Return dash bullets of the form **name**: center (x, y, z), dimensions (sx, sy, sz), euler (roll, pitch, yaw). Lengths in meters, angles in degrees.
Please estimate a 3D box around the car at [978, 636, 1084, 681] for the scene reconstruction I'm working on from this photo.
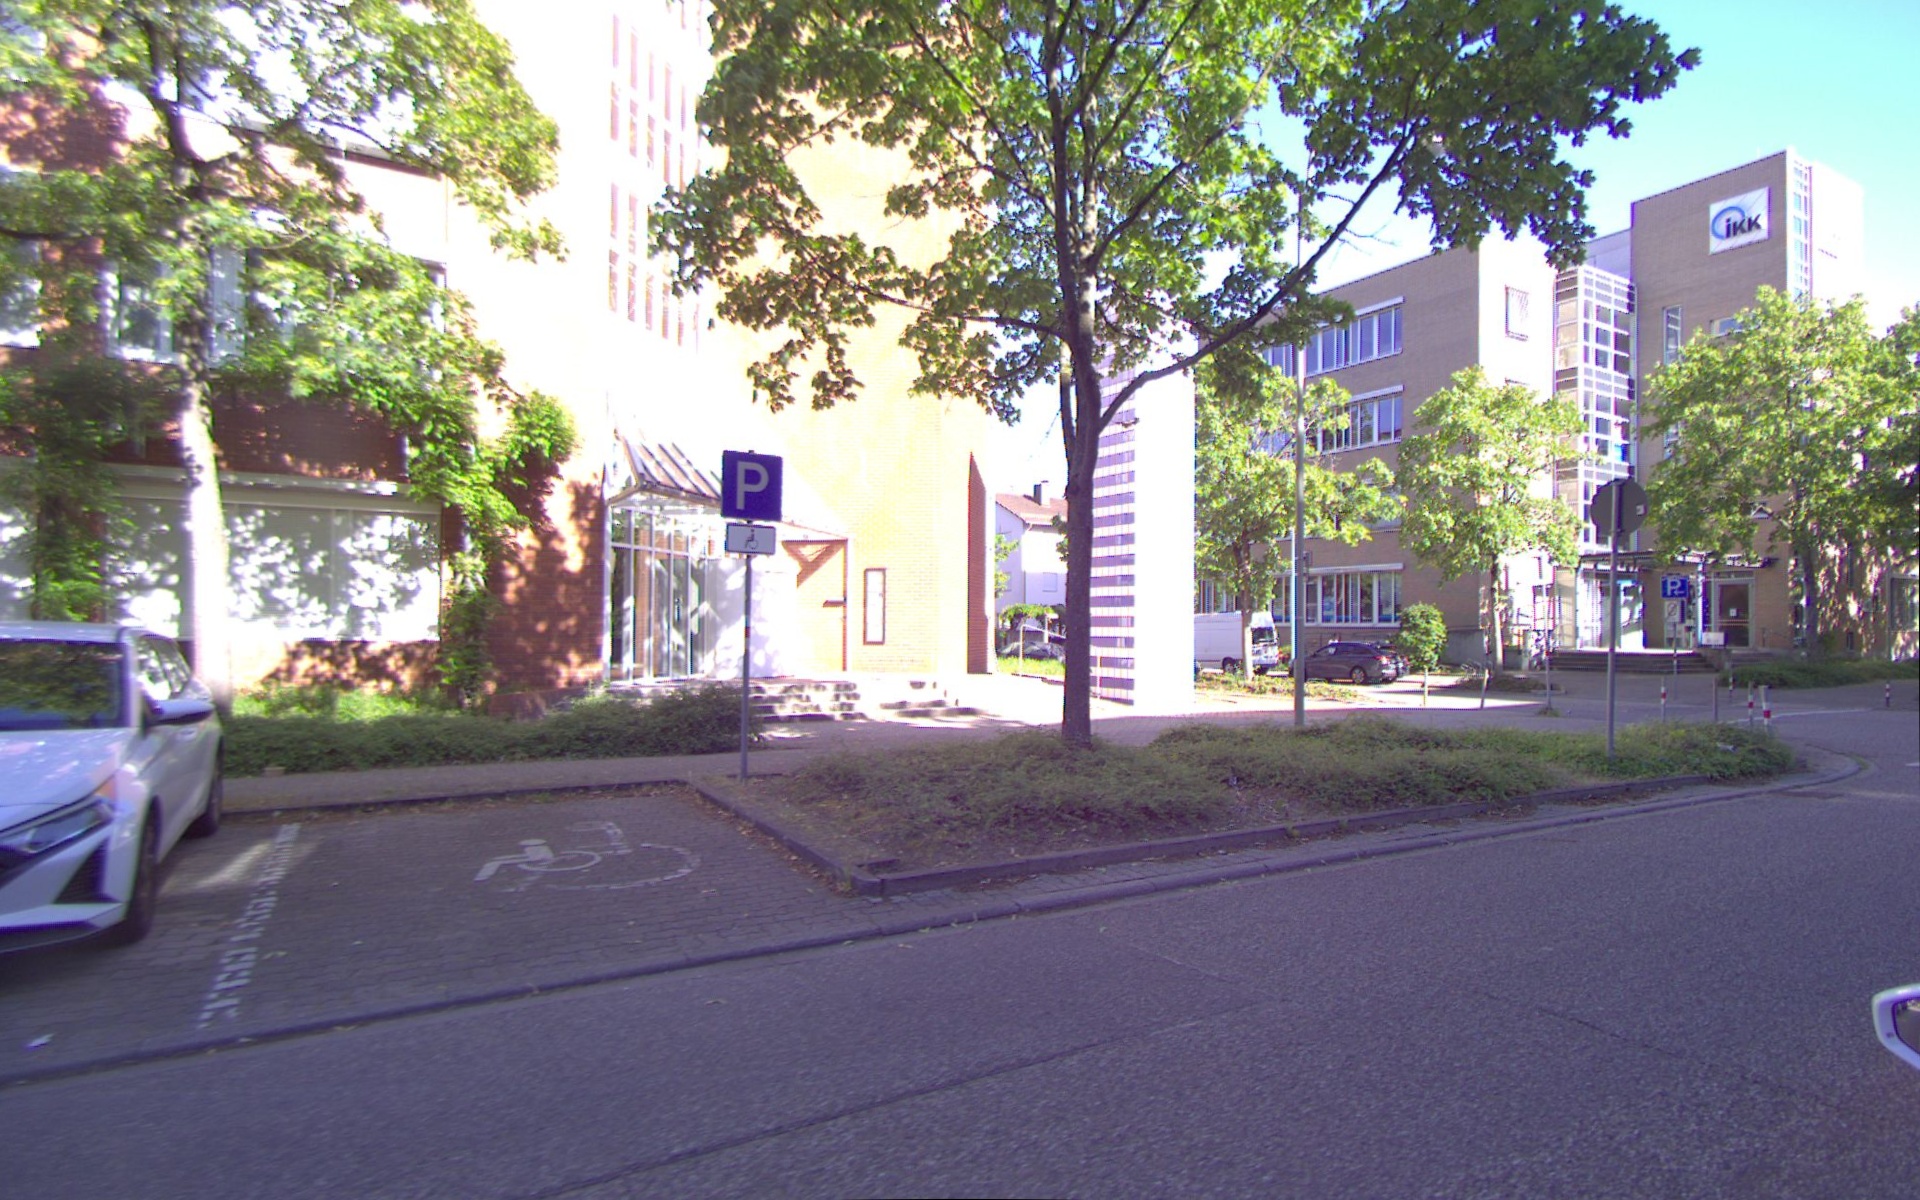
- **car**: center (2.591, 2.204, 37.693), dimensions (1.977, 1.496, 4.173), euler (5, -5, -30)

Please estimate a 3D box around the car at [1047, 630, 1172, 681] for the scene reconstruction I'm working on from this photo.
- **car**: center (4.922, 1.869, 33.578), dimensions (1.977, 1.496, 4.173), euler (5, -5, -30)

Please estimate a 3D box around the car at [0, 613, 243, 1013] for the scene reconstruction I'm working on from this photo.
- **car**: center (-5.093, 0.836, 5.305), dimensions (1.786, 1.506, 3.966), euler (1, -1, -31)

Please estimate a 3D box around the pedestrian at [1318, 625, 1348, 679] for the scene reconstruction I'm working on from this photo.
- **pedestrian**: center (14.467, 2.014, 38.956), dimensions (0.806, 2.040, 0.777), euler (2, -2, -39)

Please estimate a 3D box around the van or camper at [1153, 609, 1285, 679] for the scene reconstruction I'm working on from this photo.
- **van or camper**: center (10.662, 1.794, 41.806), dimensions (2.155, 2.710, 5.343), euler (0, -2, -31)

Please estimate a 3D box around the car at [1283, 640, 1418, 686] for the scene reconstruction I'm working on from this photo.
- **car**: center (13.884, 2.201, 35.906), dimensions (1.976, 1.496, 4.173), euler (0, -2, -30)
